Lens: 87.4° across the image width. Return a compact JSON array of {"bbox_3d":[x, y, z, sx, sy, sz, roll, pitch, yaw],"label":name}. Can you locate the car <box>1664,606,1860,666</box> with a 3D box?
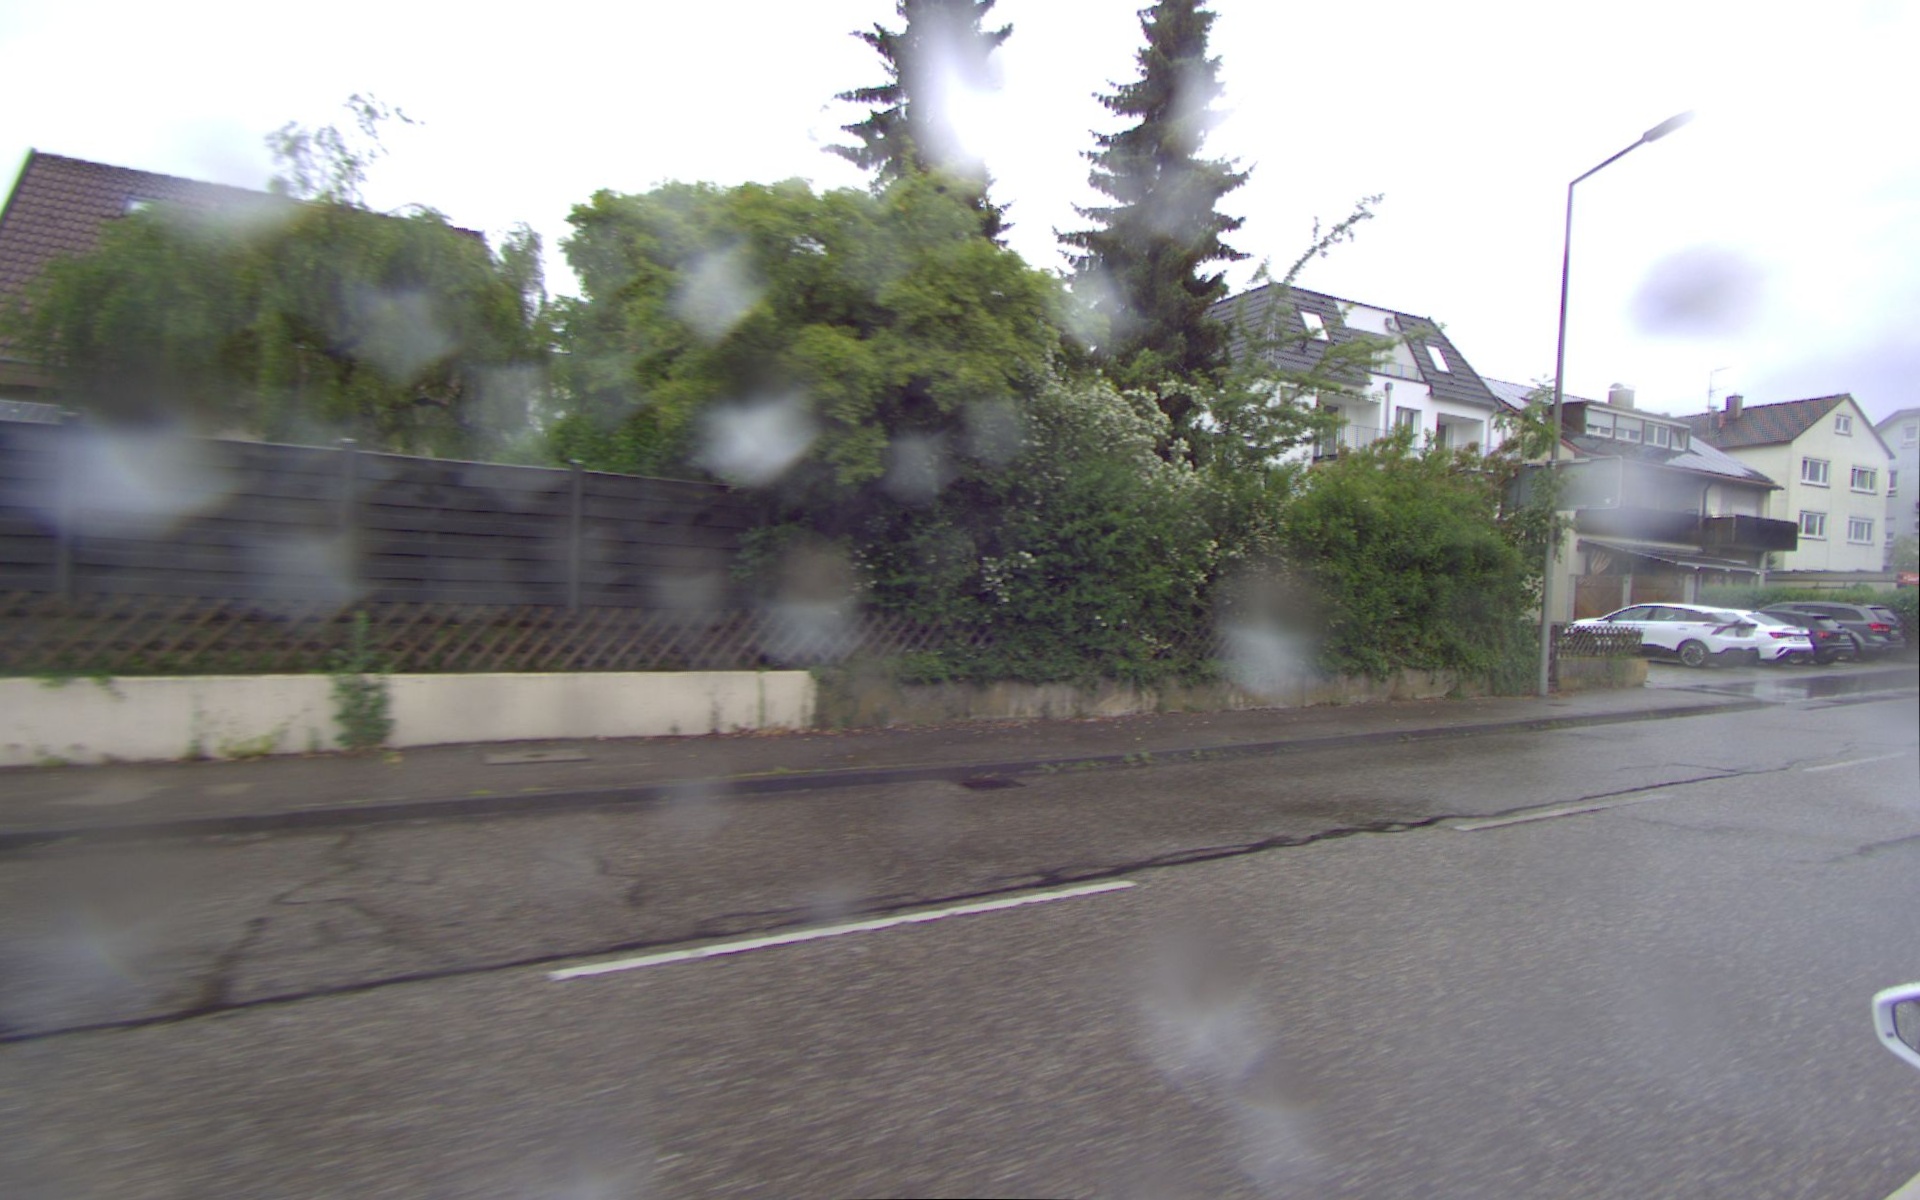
[{"bbox_3d":[22.491,0.970,28.346,1.682,1.465,3.976,2,0,-24],"label":"car"}]

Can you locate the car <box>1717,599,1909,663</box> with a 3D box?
[{"bbox_3d":[25.406,0.874,30.087,1.783,1.709,3.978,2,0,-23],"label":"car"}]

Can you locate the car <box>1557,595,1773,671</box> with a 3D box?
[{"bbox_3d":[18.068,0.794,25.943,1.931,1.606,4.083,2,2,-27],"label":"car"}]

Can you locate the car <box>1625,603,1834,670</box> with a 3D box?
[{"bbox_3d":[20.546,0.925,27.011,1.944,1.454,3.974,1,2,-25],"label":"car"}]
